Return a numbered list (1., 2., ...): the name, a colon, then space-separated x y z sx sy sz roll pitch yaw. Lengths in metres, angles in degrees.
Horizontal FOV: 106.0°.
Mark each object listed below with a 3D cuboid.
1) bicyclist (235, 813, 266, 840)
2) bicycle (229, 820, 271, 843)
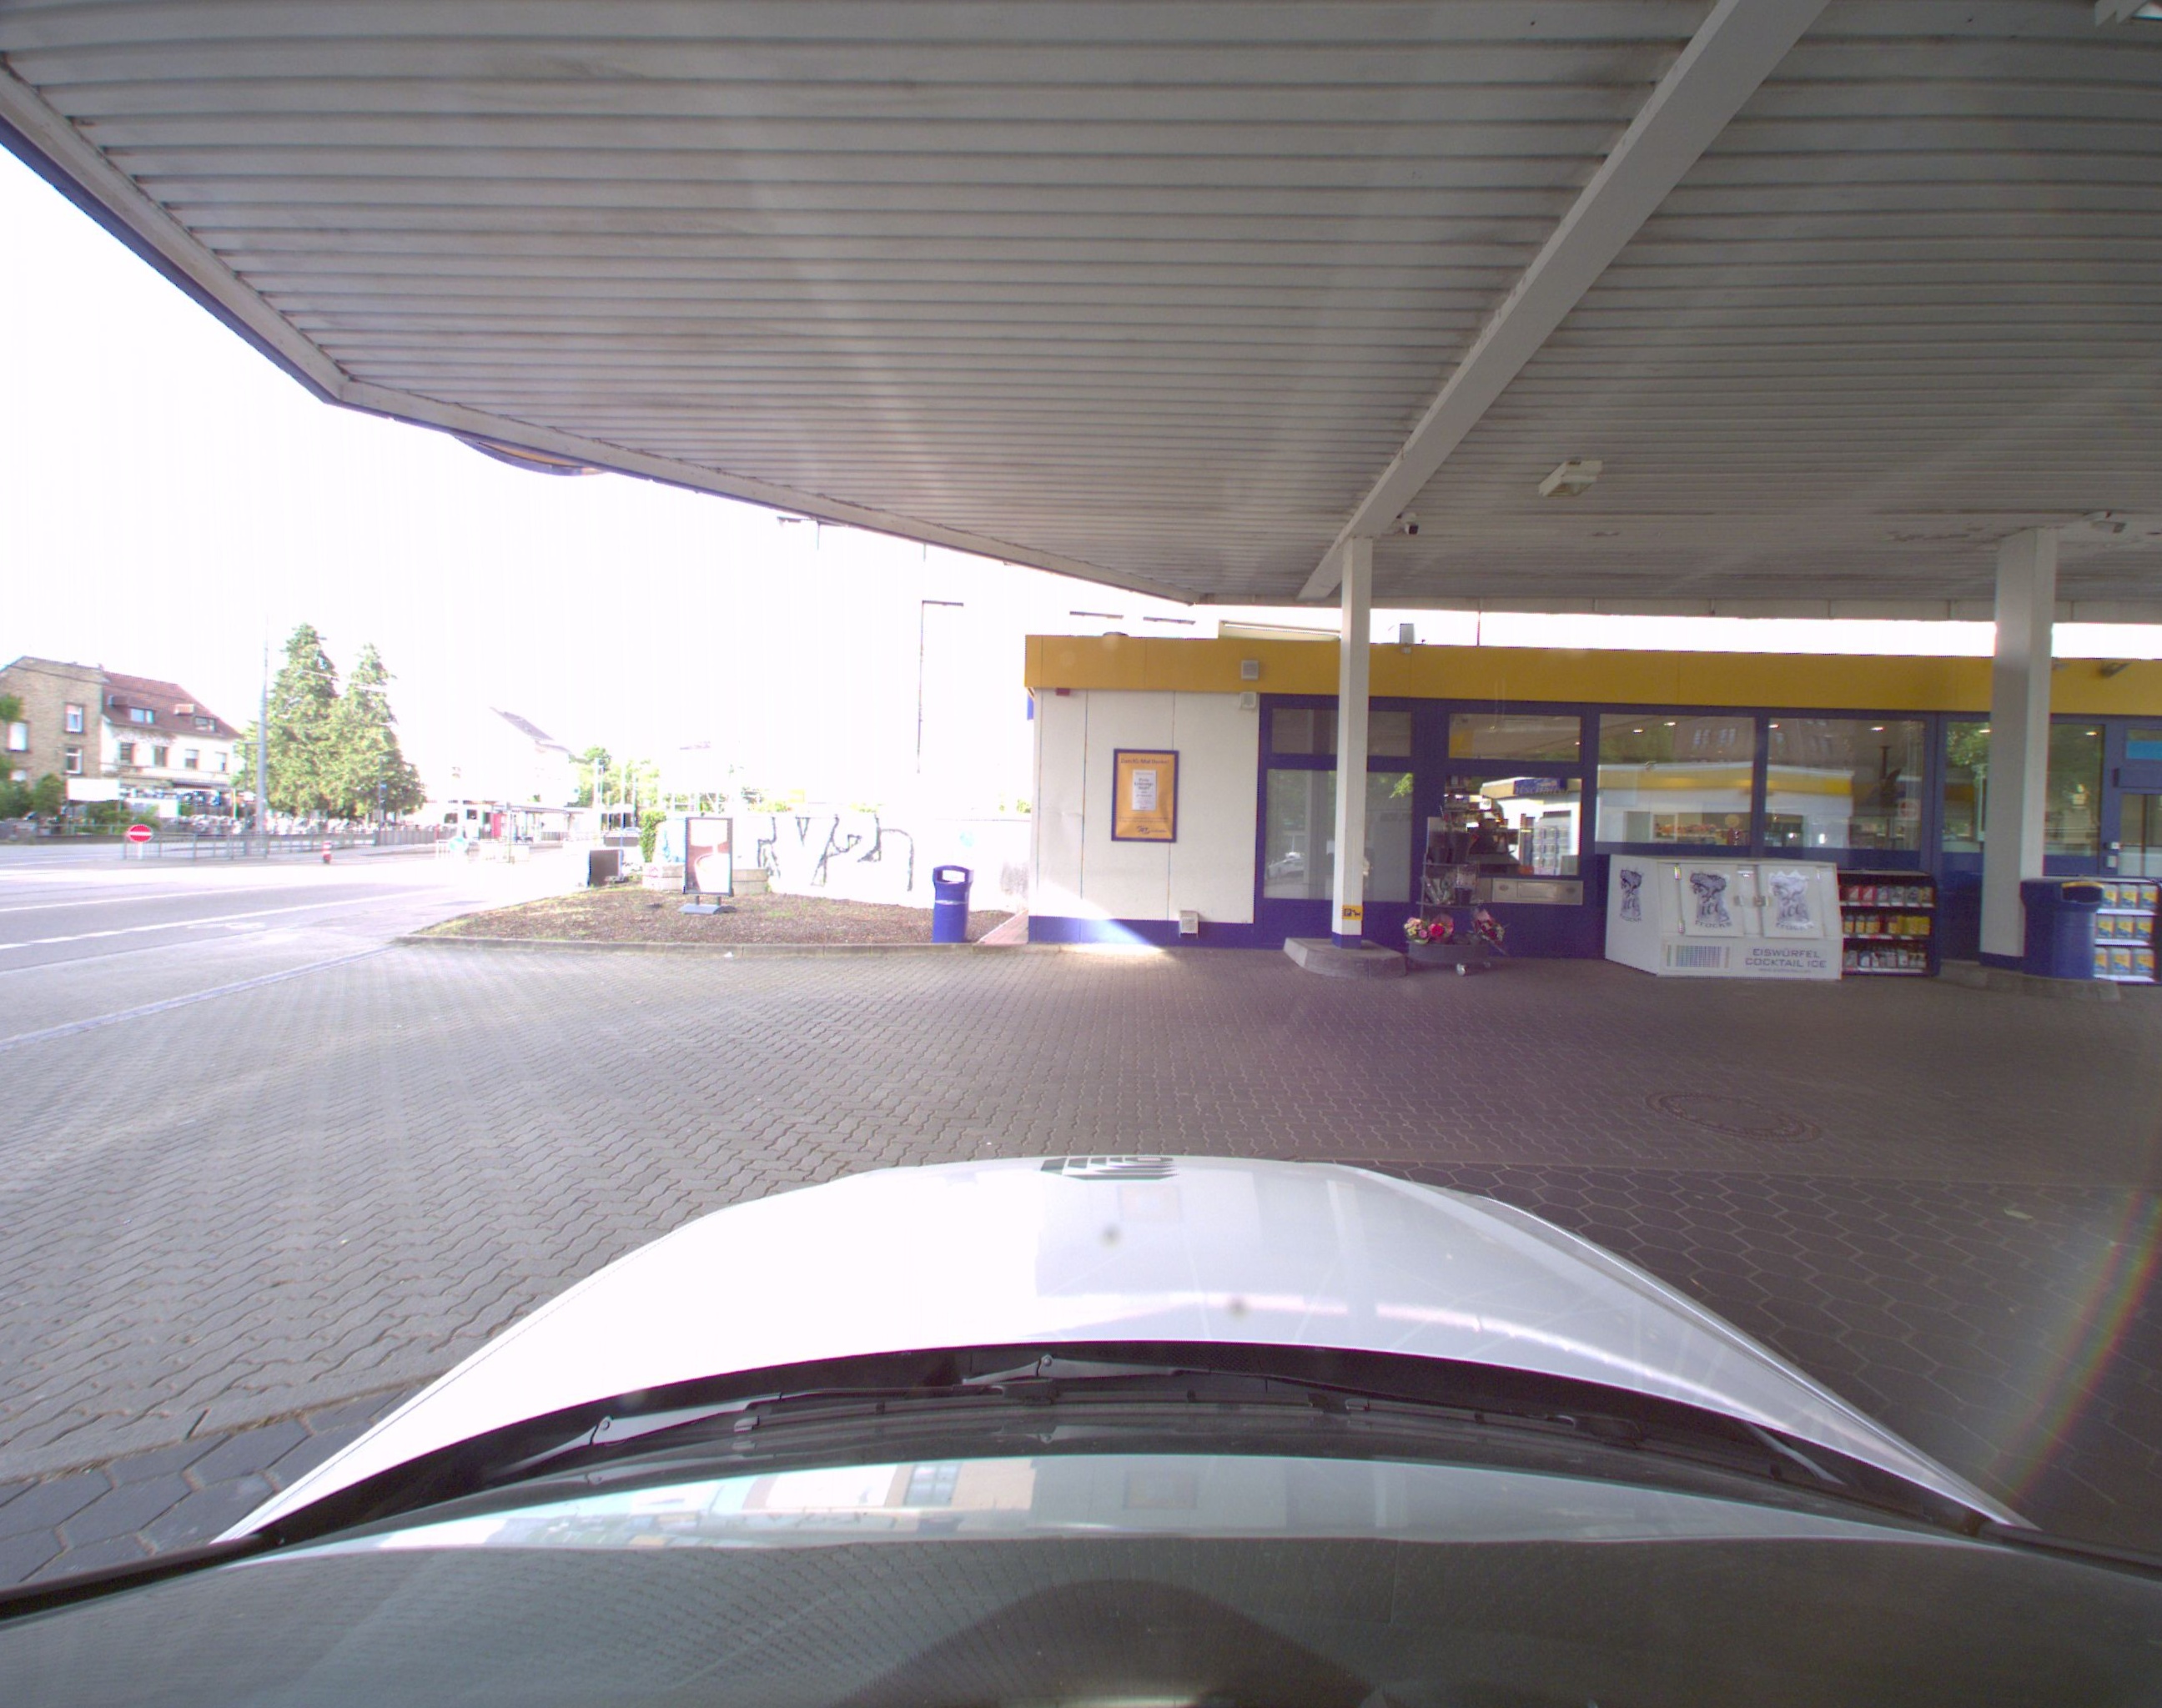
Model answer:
1. bicyclist: -45.410 -1.489 44.545 0.751 1.409 0.916 5 0 -18
2. bicycle: -45.409 -1.221 44.516 0.751 1.203 1.811 5 0 -17
